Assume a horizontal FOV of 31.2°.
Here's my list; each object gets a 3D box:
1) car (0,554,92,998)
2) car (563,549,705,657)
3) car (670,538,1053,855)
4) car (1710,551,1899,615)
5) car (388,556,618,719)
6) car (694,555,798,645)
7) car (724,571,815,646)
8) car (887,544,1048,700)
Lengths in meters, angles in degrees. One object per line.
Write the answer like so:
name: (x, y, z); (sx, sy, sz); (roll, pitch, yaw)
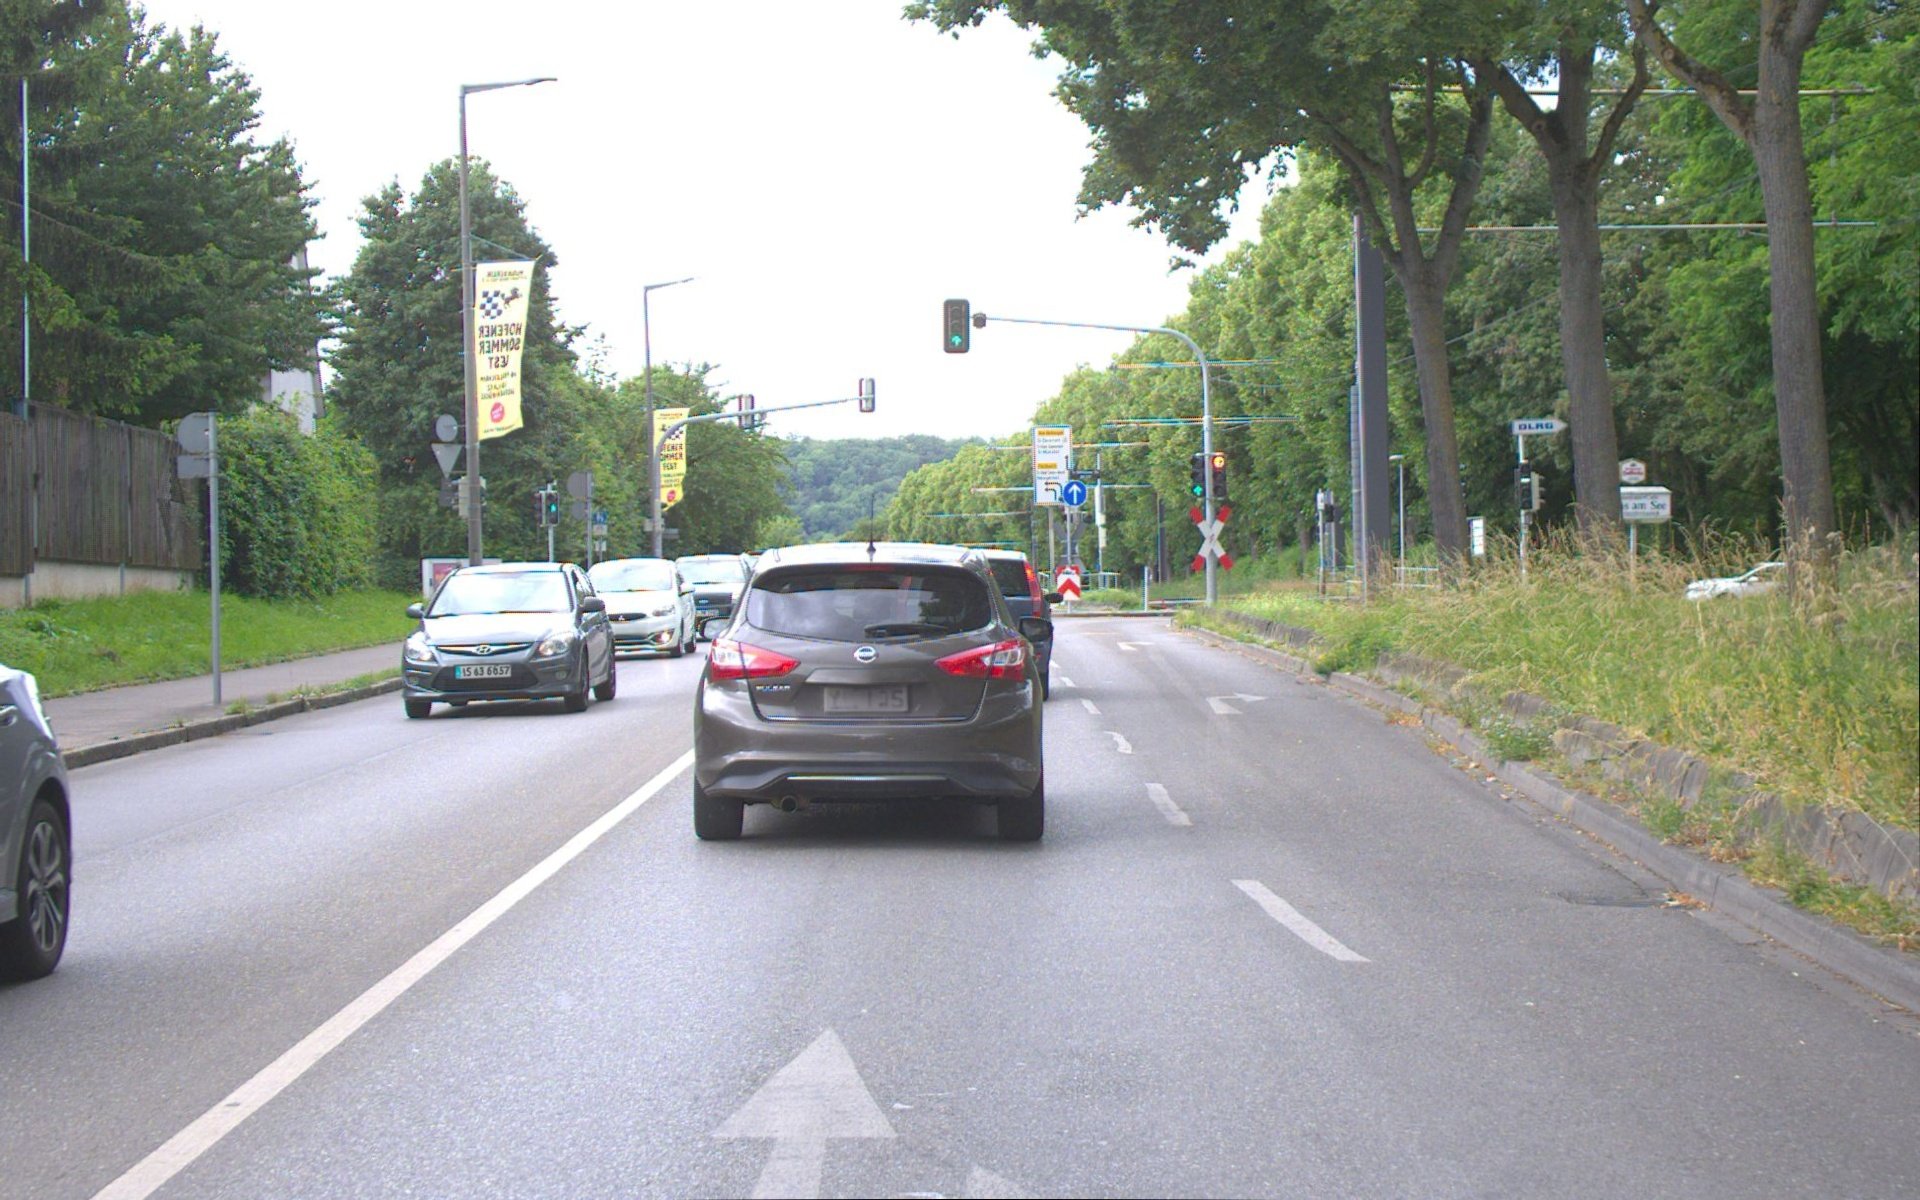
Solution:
car: (-4.190, 0.660, 10.950); (1.751, 1.513, 4.000); (-3, 1, 0)
car: (-4.885, 0.014, 51.962); (1.618, 1.456, 4.072); (-4, 1, 1)
car: (-0.465, 0.429, 18.869); (1.835, 1.514, 4.483); (1, 1, 0)
car: (20.638, -0.430, 84.077); (3.986, 1.349, 2.000); (3, 0, -5)
car: (-4.539, 0.329, 34.674); (1.728, 1.459, 4.153); (-2, 1, 0)
car: (-3.837, -0.023, 62.052); (1.643, 1.476, 4.107); (-3, 1, -1)
car: (-4.166, 0.164, 75.796); (1.812, 1.519, 4.177); (-3, 1, -1)
car: (0.084, 0.180, 34.667); (1.538, 1.473, 3.764); (0, 1, 0)
